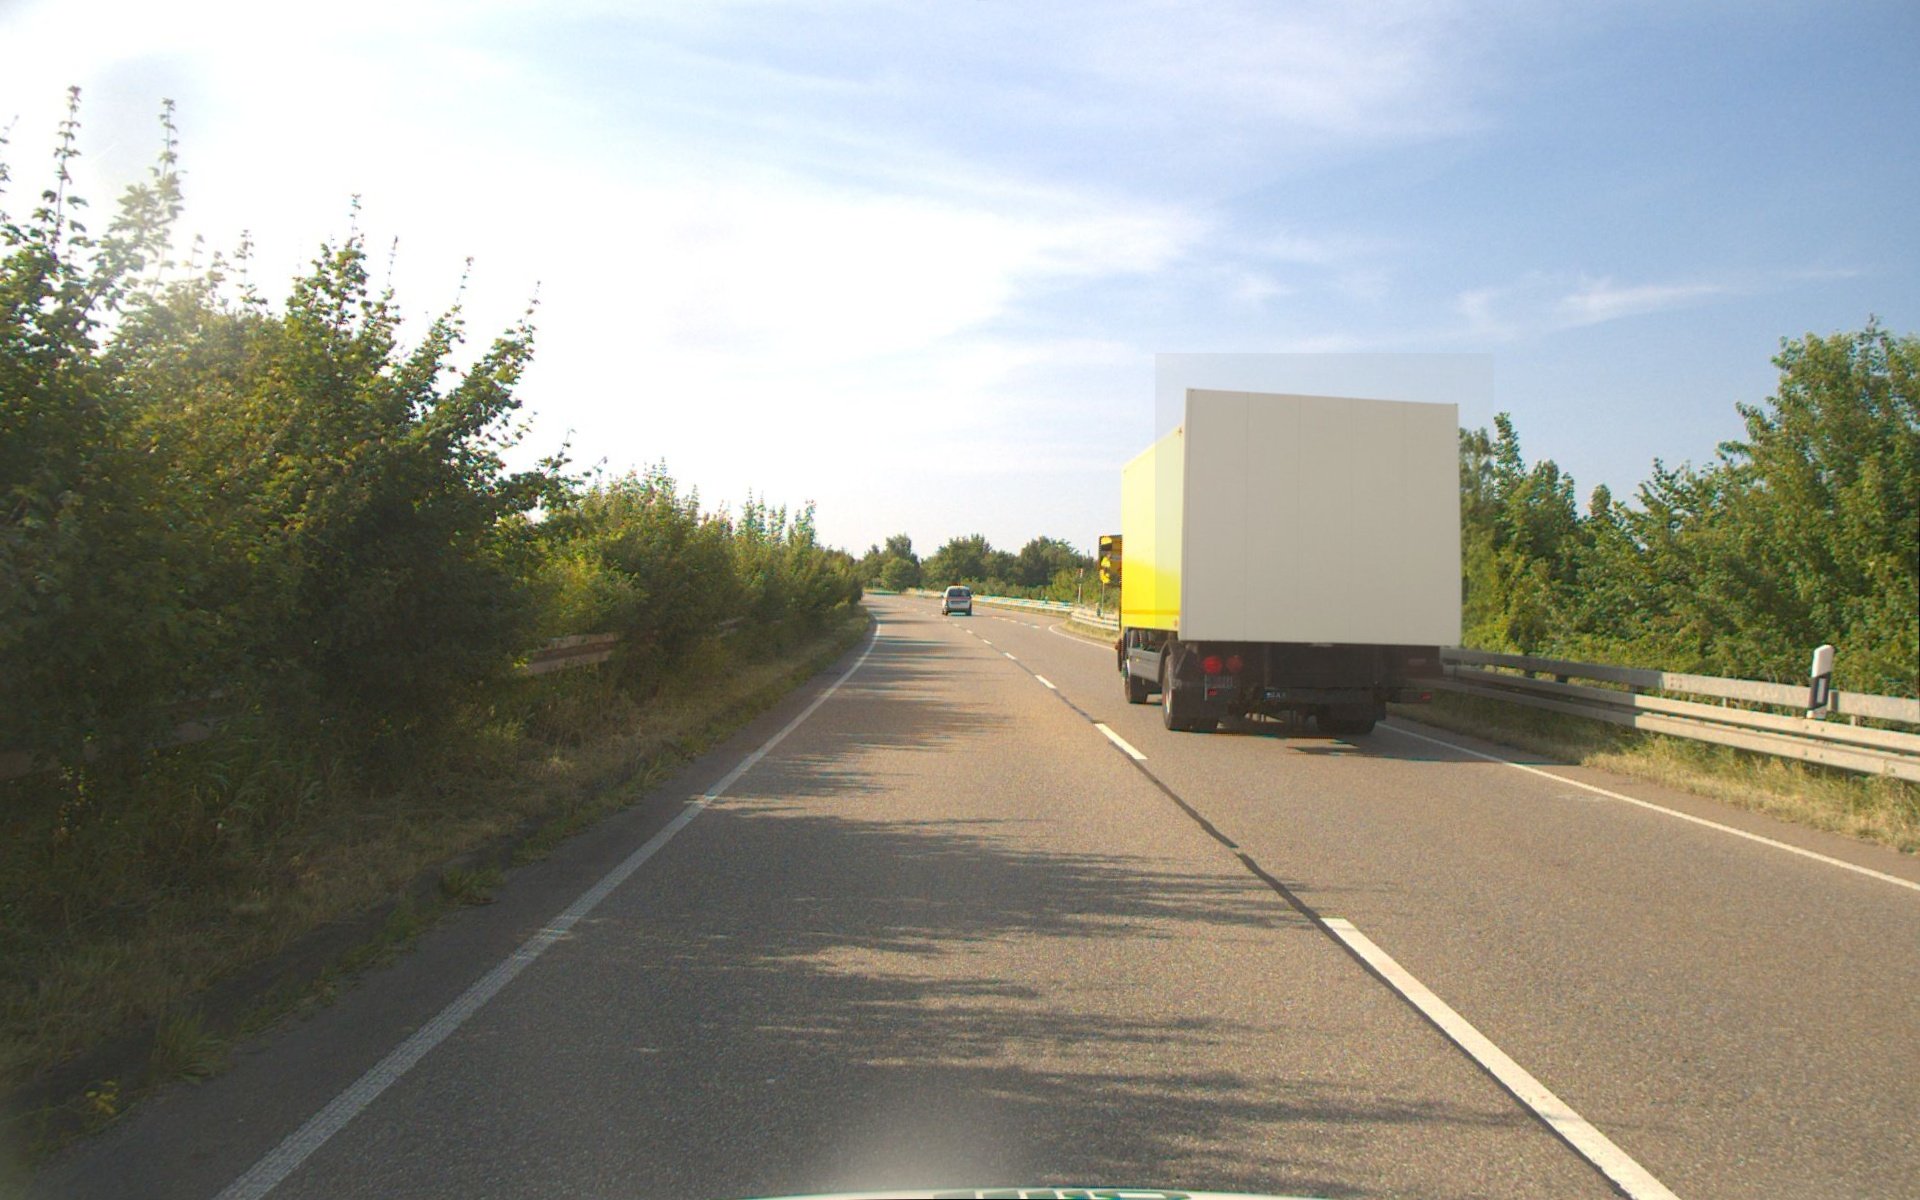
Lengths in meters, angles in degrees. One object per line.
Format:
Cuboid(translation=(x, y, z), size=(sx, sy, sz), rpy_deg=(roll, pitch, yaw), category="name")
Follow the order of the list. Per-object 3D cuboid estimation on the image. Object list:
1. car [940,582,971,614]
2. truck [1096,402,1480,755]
Cuboid(translation=(-0.287, -0.105, 104.113), size=(1.730, 1.915, 3.997), rpy_deg=(1, 0, -3), category="car")
Cuboid(translation=(3.631, -0.254, 21.369), size=(2.722, 3.374, 10.488), rpy_deg=(1, 1, -1), category="truck")
